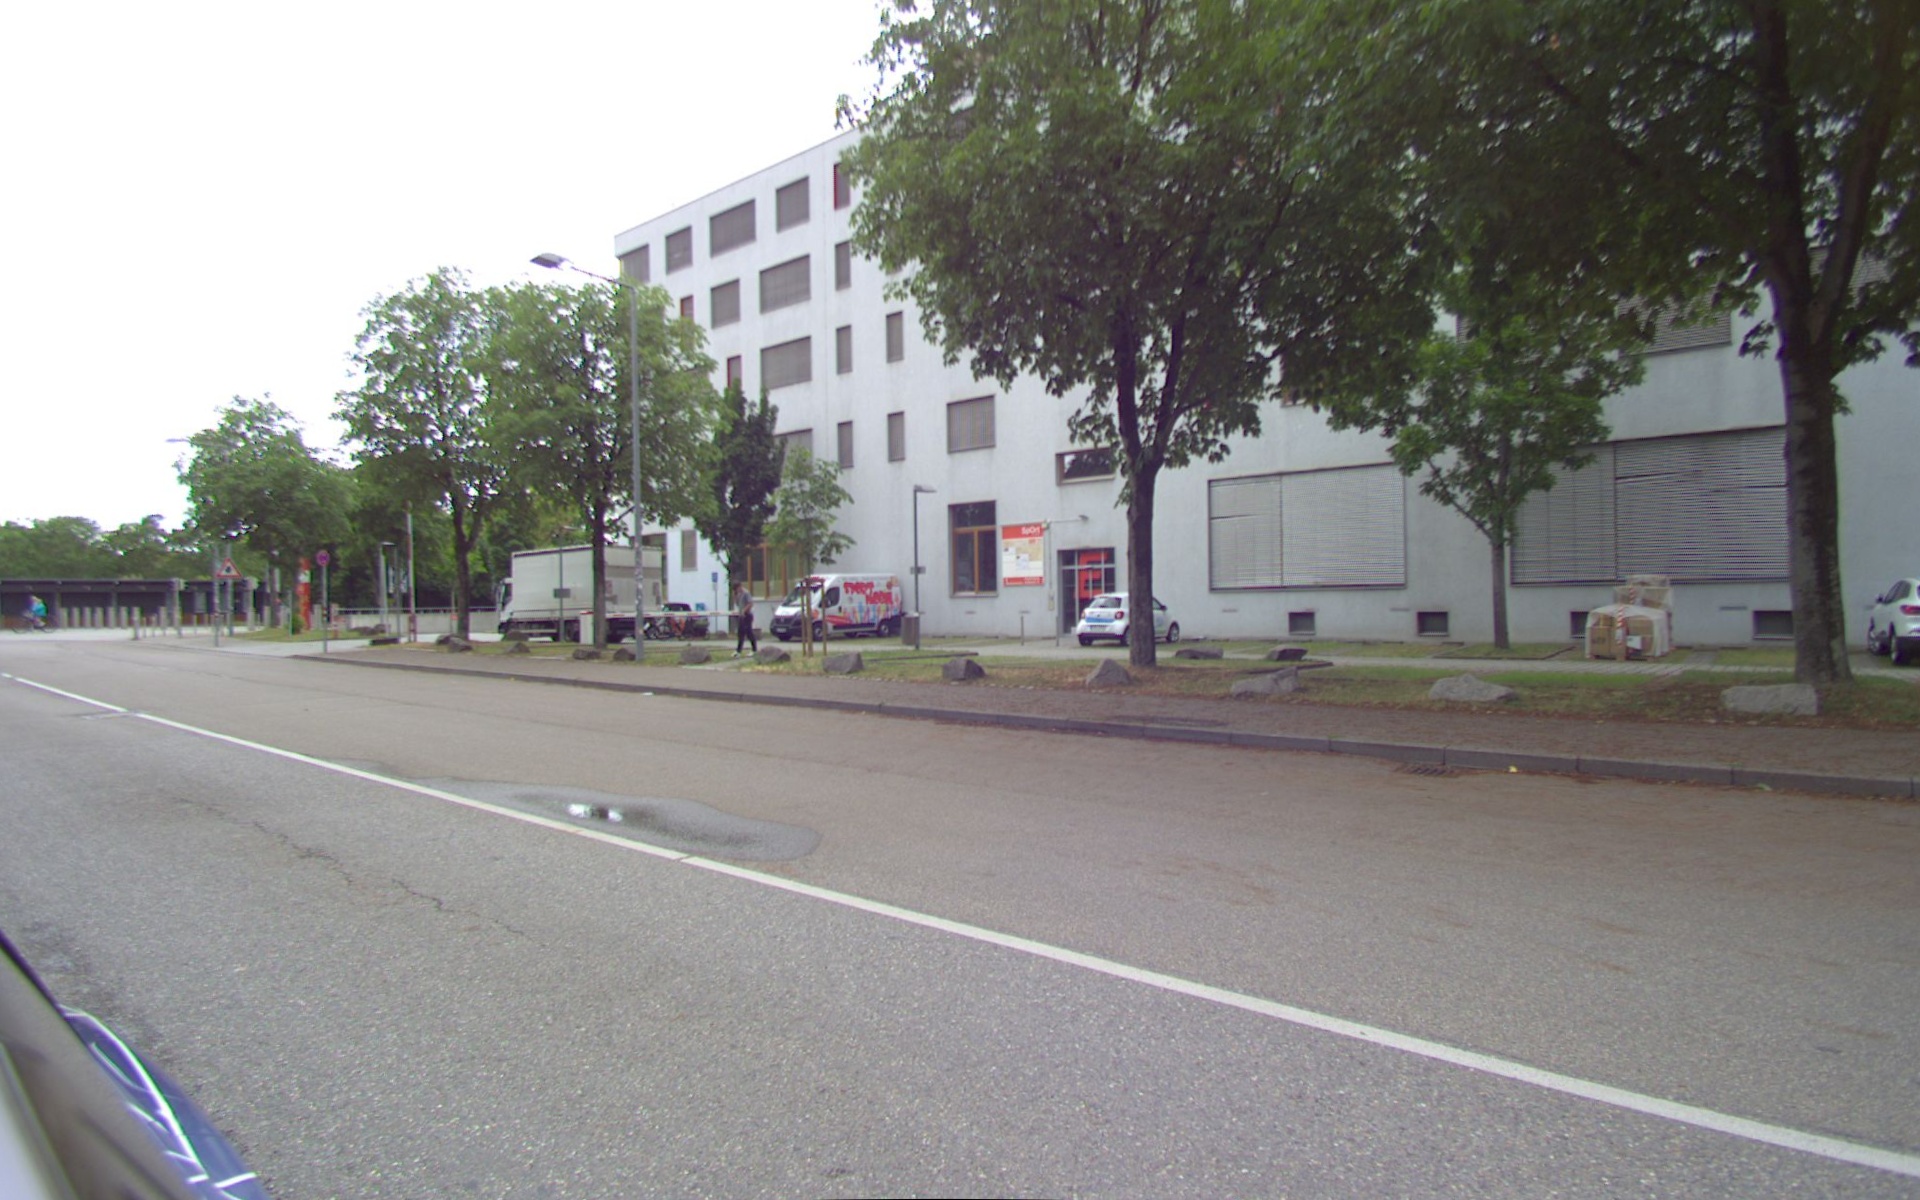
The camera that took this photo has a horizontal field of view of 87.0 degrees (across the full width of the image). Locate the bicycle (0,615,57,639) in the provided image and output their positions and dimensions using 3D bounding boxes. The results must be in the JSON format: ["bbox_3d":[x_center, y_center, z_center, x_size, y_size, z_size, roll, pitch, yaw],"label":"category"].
[{"bbox_3d":[-48.038,1.380,52.090,0.747,1.131,2.230,0,1,37],"label":"bicycle"}]

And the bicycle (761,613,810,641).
[{"bbox_3d":[-7.108,1.084,41.306,0.614,1.078,2.002,0,1,44],"label":"bicycle"}]

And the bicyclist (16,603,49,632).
[{"bbox_3d":[-47.902,0.908,52.277,0.742,1.441,1.145,0,1,37],"label":"bicyclist"}]

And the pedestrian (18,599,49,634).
[{"bbox_3d":[-50.471,0.895,55.132,0.928,1.847,1.184,1,2,44],"label":"pedestrian"}]

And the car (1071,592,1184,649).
[{"bbox_3d":[4.964,0.556,29.749,1.691,1.511,3.576,0,1,40],"label":"car"}]

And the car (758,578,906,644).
[{"bbox_3d":[-4.704,0.341,37.945,2.077,2.296,5.569,0,1,40],"label":"car"}]

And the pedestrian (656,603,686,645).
[{"bbox_3d":[-11.292,0.937,39.526,0.885,1.618,0.672,0,1,34],"label":"pedestrian"}]

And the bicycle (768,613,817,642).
[{"bbox_3d":[-6.731,1.090,40.748,0.614,1.078,2.002,0,1,44],"label":"bicycle"}]

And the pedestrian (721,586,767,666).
[{"bbox_3d":[-4.640,0.542,21.758,0.831,1.684,0.789,-1,1,-21],"label":"pedestrian"}]

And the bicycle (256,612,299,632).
[{"bbox_3d":[-42.068,1.340,62.403,0.775,1.152,2.030,1,2,30],"label":"bicycle"}]

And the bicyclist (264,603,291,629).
[{"bbox_3d":[-42.070,0.980,62.400,0.924,1.507,1.090,1,2,31],"label":"bicyclist"}]

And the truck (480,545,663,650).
[{"bbox_3d":[-15.023,-0.131,38.769,8.354,3.627,2.651,0,1,38],"label":"truck"}]

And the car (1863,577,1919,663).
[{"bbox_3d":[18.081,0.308,18.529,1.896,1.467,3.963,0,1,36],"label":"car"}]
